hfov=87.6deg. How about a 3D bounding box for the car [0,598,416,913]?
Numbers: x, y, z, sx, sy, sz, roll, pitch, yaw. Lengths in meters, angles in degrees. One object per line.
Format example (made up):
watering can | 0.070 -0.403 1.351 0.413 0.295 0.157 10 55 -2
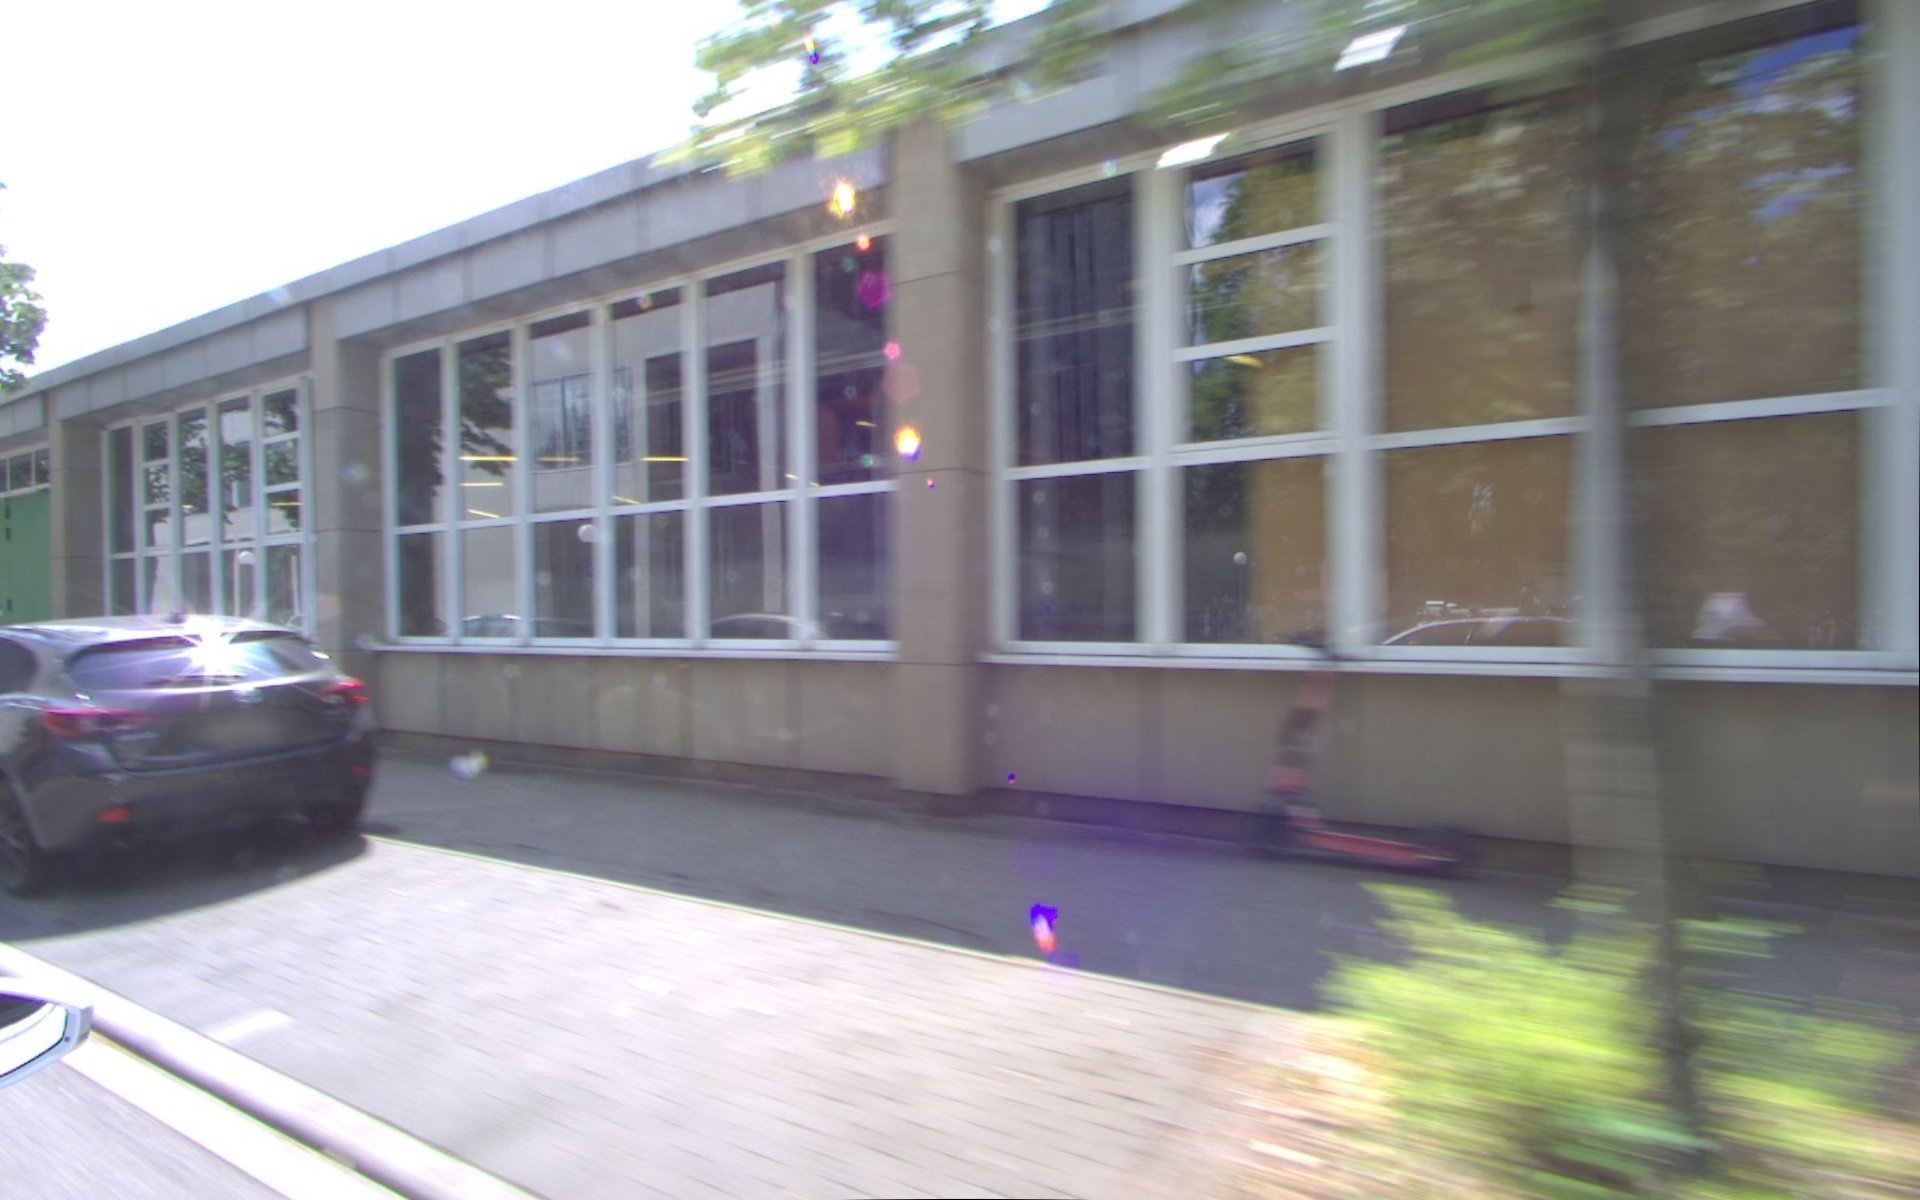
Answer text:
car | -5.813 0.783 6.779 4.397 1.496 1.777 -1 1 32

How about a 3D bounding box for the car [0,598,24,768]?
car | -10.684 0.777 9.595 3.725 1.559 1.613 -1 -1 32

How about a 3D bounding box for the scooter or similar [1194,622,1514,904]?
scooter or similar | 2.003 0.757 5.156 1.464 1.266 0.509 -1 1 32
